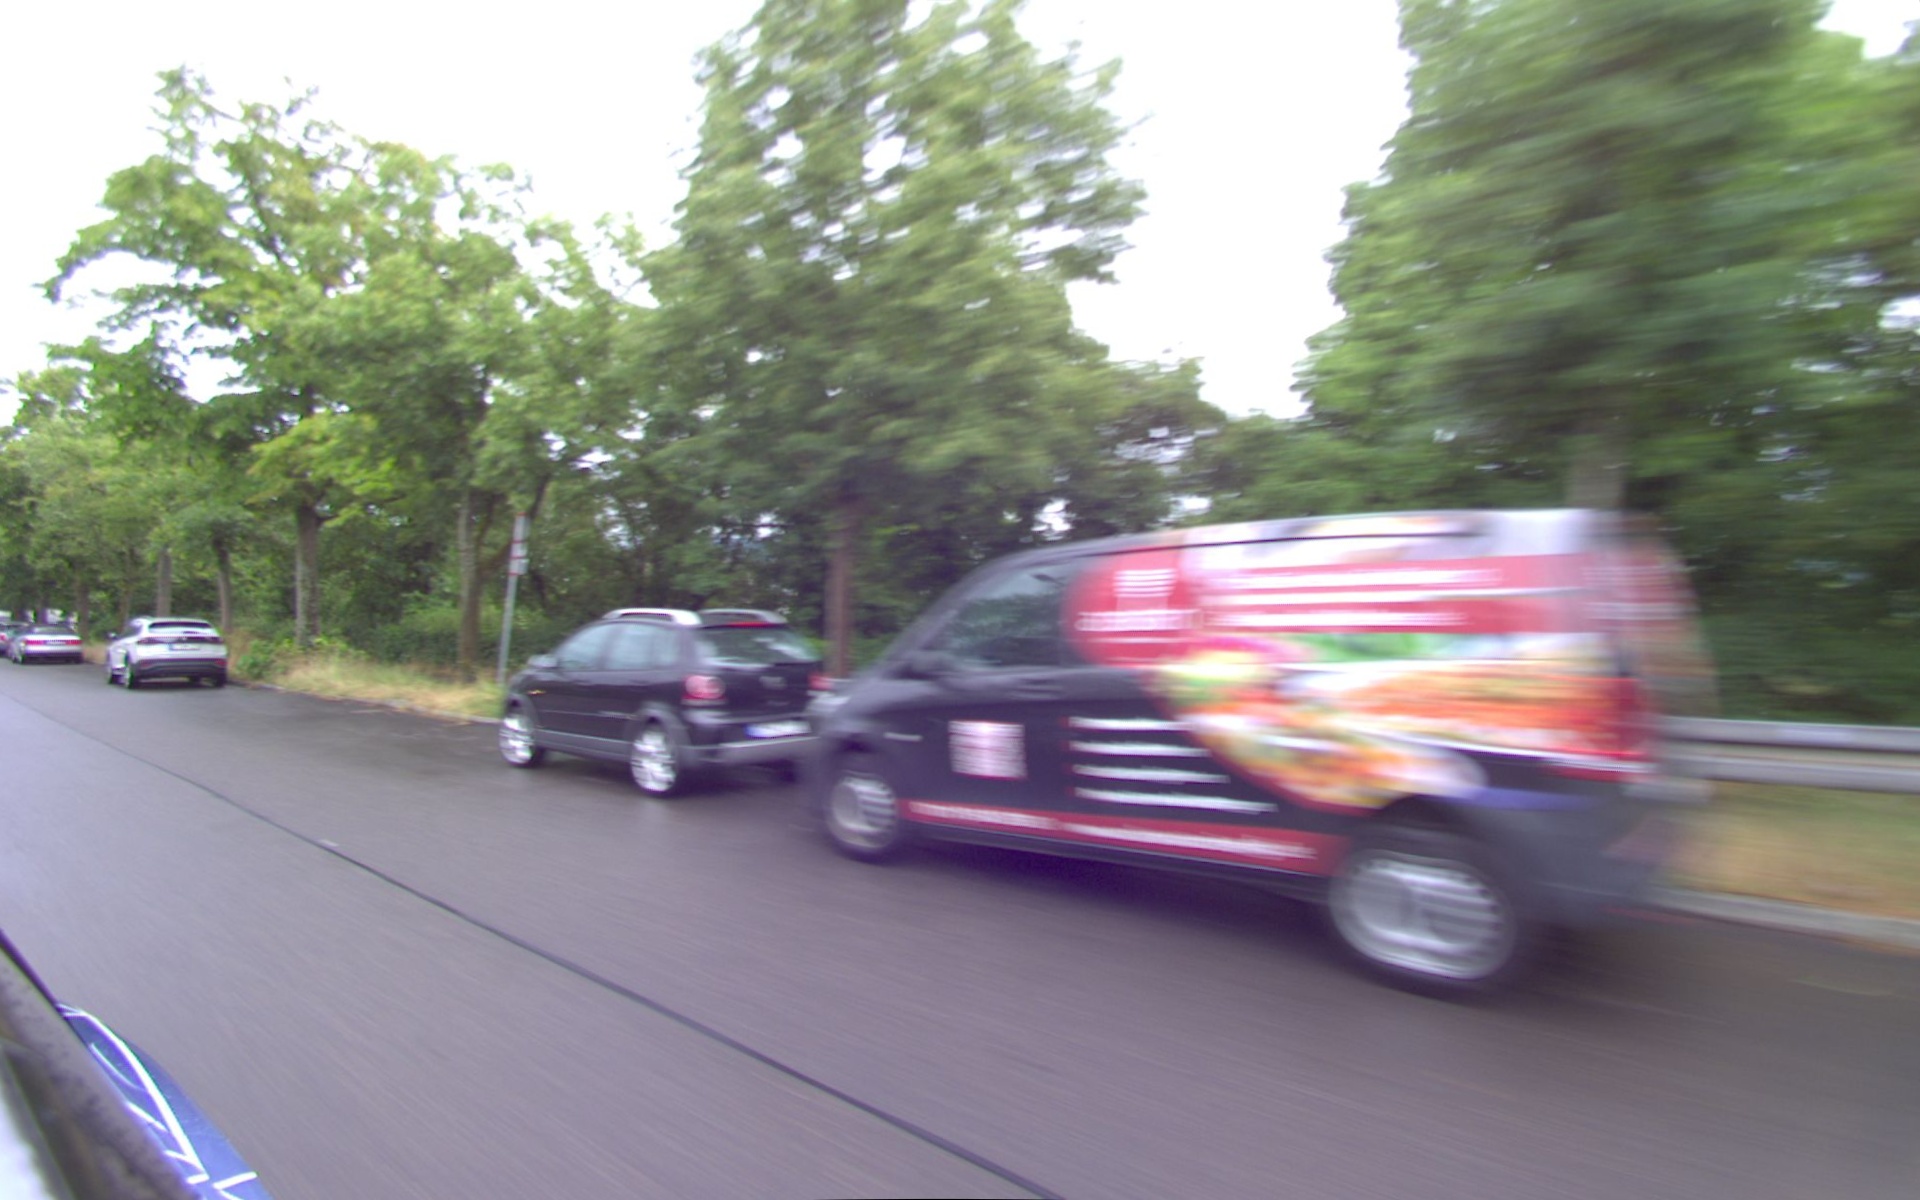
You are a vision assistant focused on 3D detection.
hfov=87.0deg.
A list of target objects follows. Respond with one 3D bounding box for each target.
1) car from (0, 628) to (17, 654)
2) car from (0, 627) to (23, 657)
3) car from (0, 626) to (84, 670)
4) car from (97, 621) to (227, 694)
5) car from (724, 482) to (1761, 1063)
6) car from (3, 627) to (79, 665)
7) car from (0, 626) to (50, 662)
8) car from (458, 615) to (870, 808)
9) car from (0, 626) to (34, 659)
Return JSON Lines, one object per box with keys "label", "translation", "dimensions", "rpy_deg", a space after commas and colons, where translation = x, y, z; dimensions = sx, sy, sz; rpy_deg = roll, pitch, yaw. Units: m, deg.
{"label": "car", "translation": [-51.200, 2.143, 53.239], "dimensions": [5.355, 1.319, 1.971], "rpy_deg": [-3, -4, 43]}
{"label": "car", "translation": [-46.844, 2.026, 48.998], "dimensions": [1.970, 1.416, 4.717], "rpy_deg": [3, -4, -44]}
{"label": "car", "translation": [-32.161, 1.628, 35.419], "dimensions": [4.418, 1.413, 1.736], "rpy_deg": [-1, -2, 42]}
{"label": "car", "translation": [-17.834, 1.221, 22.557], "dimensions": [4.257, 1.448, 1.670], "rpy_deg": [-1, -3, 44]}
{"label": "car", "translation": [1.076, 0.584, 5.796], "dimensions": [5.380, 1.833, 2.061], "rpy_deg": [-1, -2, 43]}
{"label": "car", "translation": [-35.427, 1.735, 38.989], "dimensions": [3.997, 1.372, 1.579], "rpy_deg": [-1, -1, 40]}
{"label": "car", "translation": [-39.691, 1.807, 42.424], "dimensions": [4.715, 1.416, 1.971], "rpy_deg": [-1, -3, 44]}
{"label": "car", "translation": [-2.979, 0.873, 9.705], "dimensions": [4.253, 1.448, 1.779], "rpy_deg": [-1, -2, 41]}
{"label": "car", "translation": [-43.396, 1.881, 45.729], "dimensions": [4.715, 1.416, 1.971], "rpy_deg": [-1, -3, 44]}
